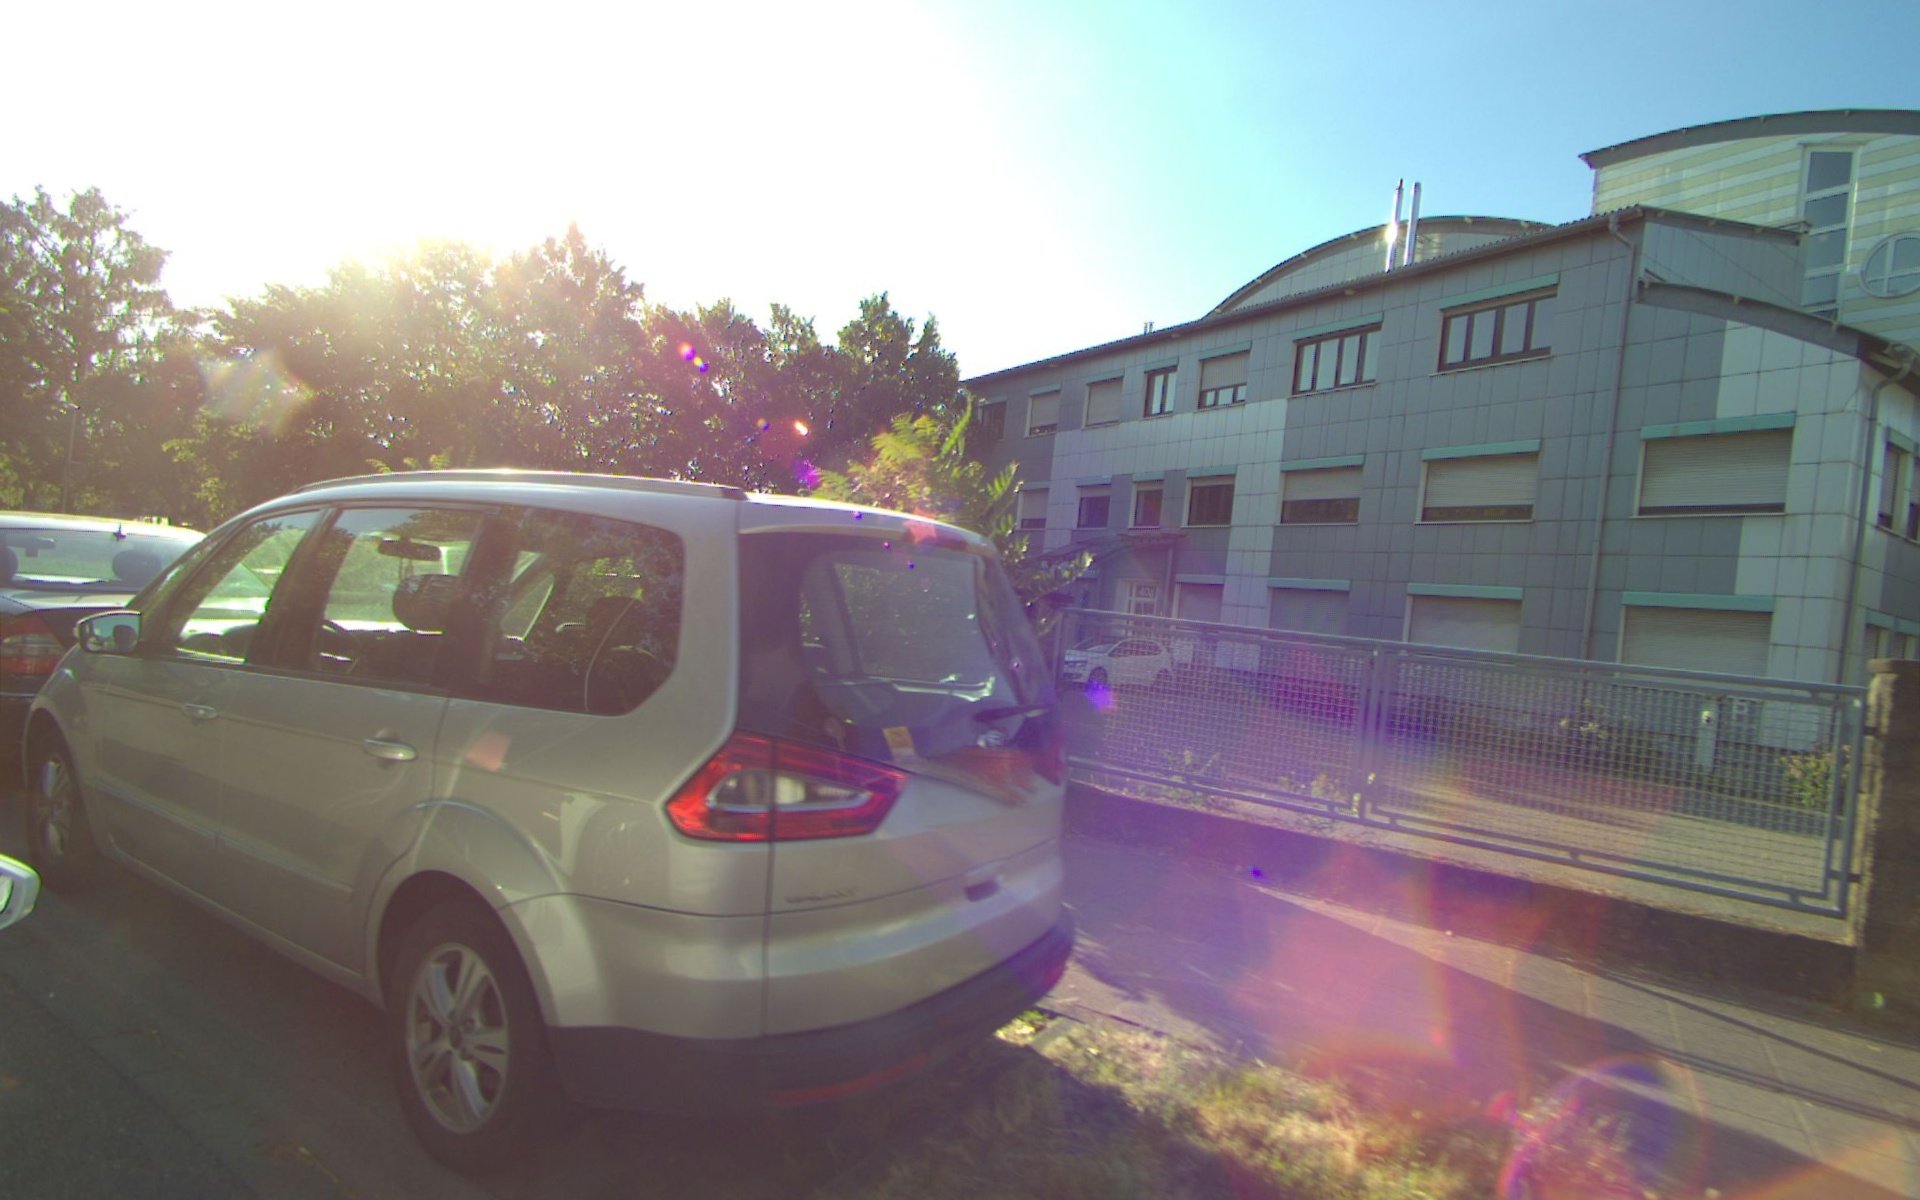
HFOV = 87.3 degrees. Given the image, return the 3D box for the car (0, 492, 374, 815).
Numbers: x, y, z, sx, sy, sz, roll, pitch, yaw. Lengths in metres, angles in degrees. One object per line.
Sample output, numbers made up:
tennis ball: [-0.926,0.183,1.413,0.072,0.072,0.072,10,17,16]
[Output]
car: [-6.062,0.091,6.643,4.612,1.535,1.783,6,1,32]

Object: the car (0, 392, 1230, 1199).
car: [-1.698,0.354,3.962,4.836,1.781,1.995,6,0,32]

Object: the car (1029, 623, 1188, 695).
car: [4.057,1.621,27.225,3.962,1.593,1.892,6,0,-36]
